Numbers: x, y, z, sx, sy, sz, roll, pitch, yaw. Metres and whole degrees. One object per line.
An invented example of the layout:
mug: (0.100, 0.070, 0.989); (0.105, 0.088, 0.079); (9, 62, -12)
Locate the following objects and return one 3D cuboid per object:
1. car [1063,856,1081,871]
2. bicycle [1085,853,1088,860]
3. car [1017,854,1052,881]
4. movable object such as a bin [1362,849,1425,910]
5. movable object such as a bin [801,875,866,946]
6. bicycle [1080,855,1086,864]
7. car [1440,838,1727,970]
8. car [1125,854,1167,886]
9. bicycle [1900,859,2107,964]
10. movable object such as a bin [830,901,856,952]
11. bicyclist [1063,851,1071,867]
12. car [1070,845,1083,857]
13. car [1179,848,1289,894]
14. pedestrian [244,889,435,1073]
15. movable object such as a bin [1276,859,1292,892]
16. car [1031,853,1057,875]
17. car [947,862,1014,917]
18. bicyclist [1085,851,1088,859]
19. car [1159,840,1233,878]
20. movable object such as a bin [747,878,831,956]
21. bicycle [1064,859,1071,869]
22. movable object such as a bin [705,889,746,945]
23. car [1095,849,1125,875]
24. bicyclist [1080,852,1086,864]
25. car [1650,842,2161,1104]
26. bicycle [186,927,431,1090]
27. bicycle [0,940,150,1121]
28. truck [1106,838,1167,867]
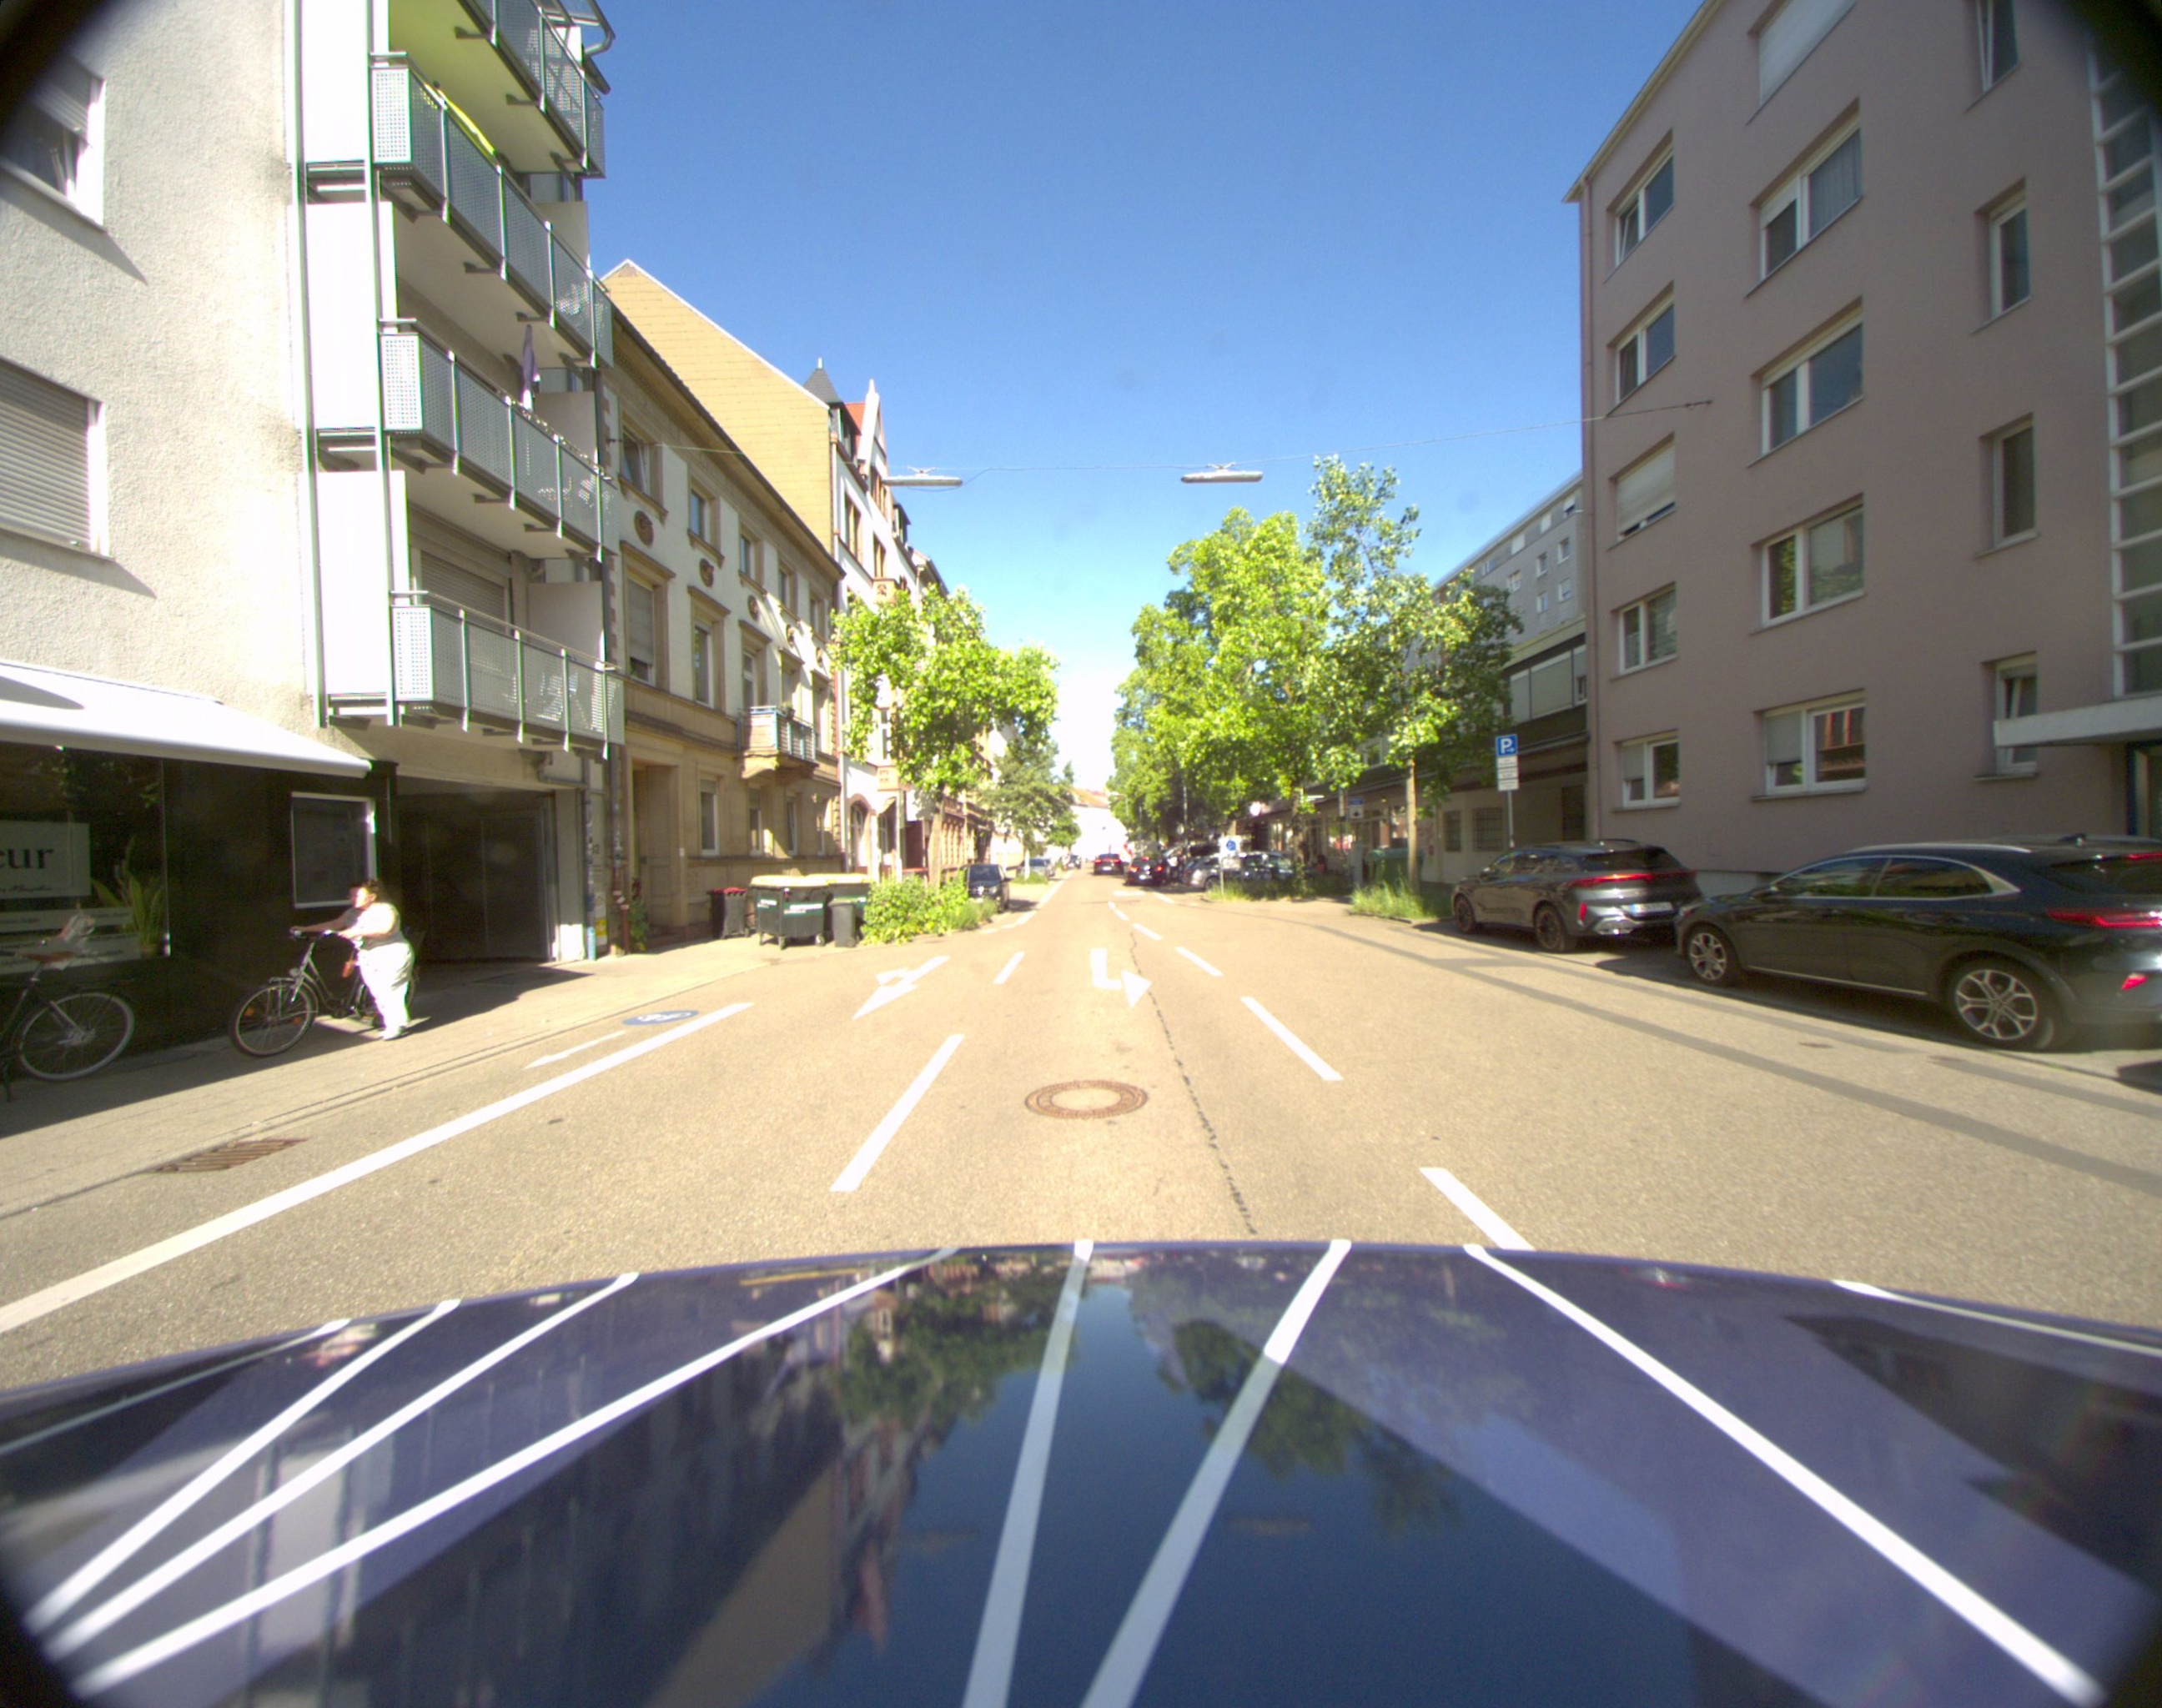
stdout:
car: (-0.905, 0.923, 77.856); (1.653, 1.447, 3.290); (-2, 0, 1)
bicycle: (1.011, 0.470, 136.179); (0.422, 1.292, 1.763); (-1, 0, 4)
car: (-2.755, 0.786, 45.680); (1.759, 1.492, 3.949); (-2, 0, 0)
movable object such as a bin: (8.124, 0.644, 19.785); (1.247, 1.536, 1.019); (-2, 1, 5)
movable object such as a bin: (-5.095, 1.131, 15.646); (0.960, 1.341, 1.066); (-1, 2, -38)
bicycle: (0.286, 0.782, 102.716); (0.778, 1.139, 2.259); (-3, 1, 1)
car: (7.580, 0.651, 12.049); (1.821, 1.583, 4.141); (-5, 0, 2)
car: (3.171, 0.767, 37.733); (1.867, 1.455, 4.000); (-1, 0, 3)
bicycle: (10.751, 0.619, 8.946); (0.391, 1.070, 1.650); (-6, 0, 2)
movable object such as a bin: (-4.588, 1.391, 14.680); (0.401, 0.916, 0.484); (0, 2, -7)
bicyclist: (-1.243, 0.462, 67.418); (0.610, 1.338, 1.018); (-2, 0, -3)
car: (-0.664, -0.520, 126.408); (1.998, 2.002, 4.000); (-2, 0, 1)
car: (6.078, 0.648, 30.461); (3.997, 1.665, 2.000); (-2, 1, 1)
pedestrian: (-6.832, 1.125, 7.061); (0.825, 1.529, 0.946); (2, 1, 1)
movable object such as a bin: (7.610, 0.796, 28.467); (0.488, 1.218, 0.409); (-2, 1, 1)
car: (-2.643, 0.678, 54.995); (1.653, 1.483, 3.290); (-2, 0, 0)
car: (-2.979, 1.023, 23.157); (1.551, 1.483, 3.351); (-2, 0, 0)
bicyclist: (1.032, 0.239, 136.299); (0.417, 1.415, 0.324); (-2, 1, 4)
car: (6.696, 0.284, 44.569); (3.997, 2.020, 2.000); (-2, 1, 1)
movable object such as a bin: (-5.598, 1.168, 14.569); (1.212, 1.318, 1.052); (2, 3, 42)
bicycle: (-1.229, 0.900, 67.549); (0.612, 0.876, 1.814); (-2, -1, -2)
movable object such as a bin: (-7.329, 1.280, 15.684); (0.615, 1.075, 0.568); (2, 3, 42)
car: (1.998, 0.534, 54.314); (1.994, 1.599, 4.259); (-3, 3, 1)
bicyclist: (0.273, 0.565, 102.728); (0.748, 1.588, 0.613); (-3, 1, 1)
car: (7.507, 0.710, 6.719); (1.821, 1.499, 4.246); (-4, 0, 2)
bicycle: (-6.997, 1.331, 7.021); (0.402, 1.126, 1.792); (2, 1, 1)
bicycle: (-7.756, 1.285, 5.238); (0.402, 1.171, 1.792); (-2, 0, 1)
truck: (5.203, -0.146, 71.397); (5.322, 2.581, 1.998); (-2, 1, -9)
